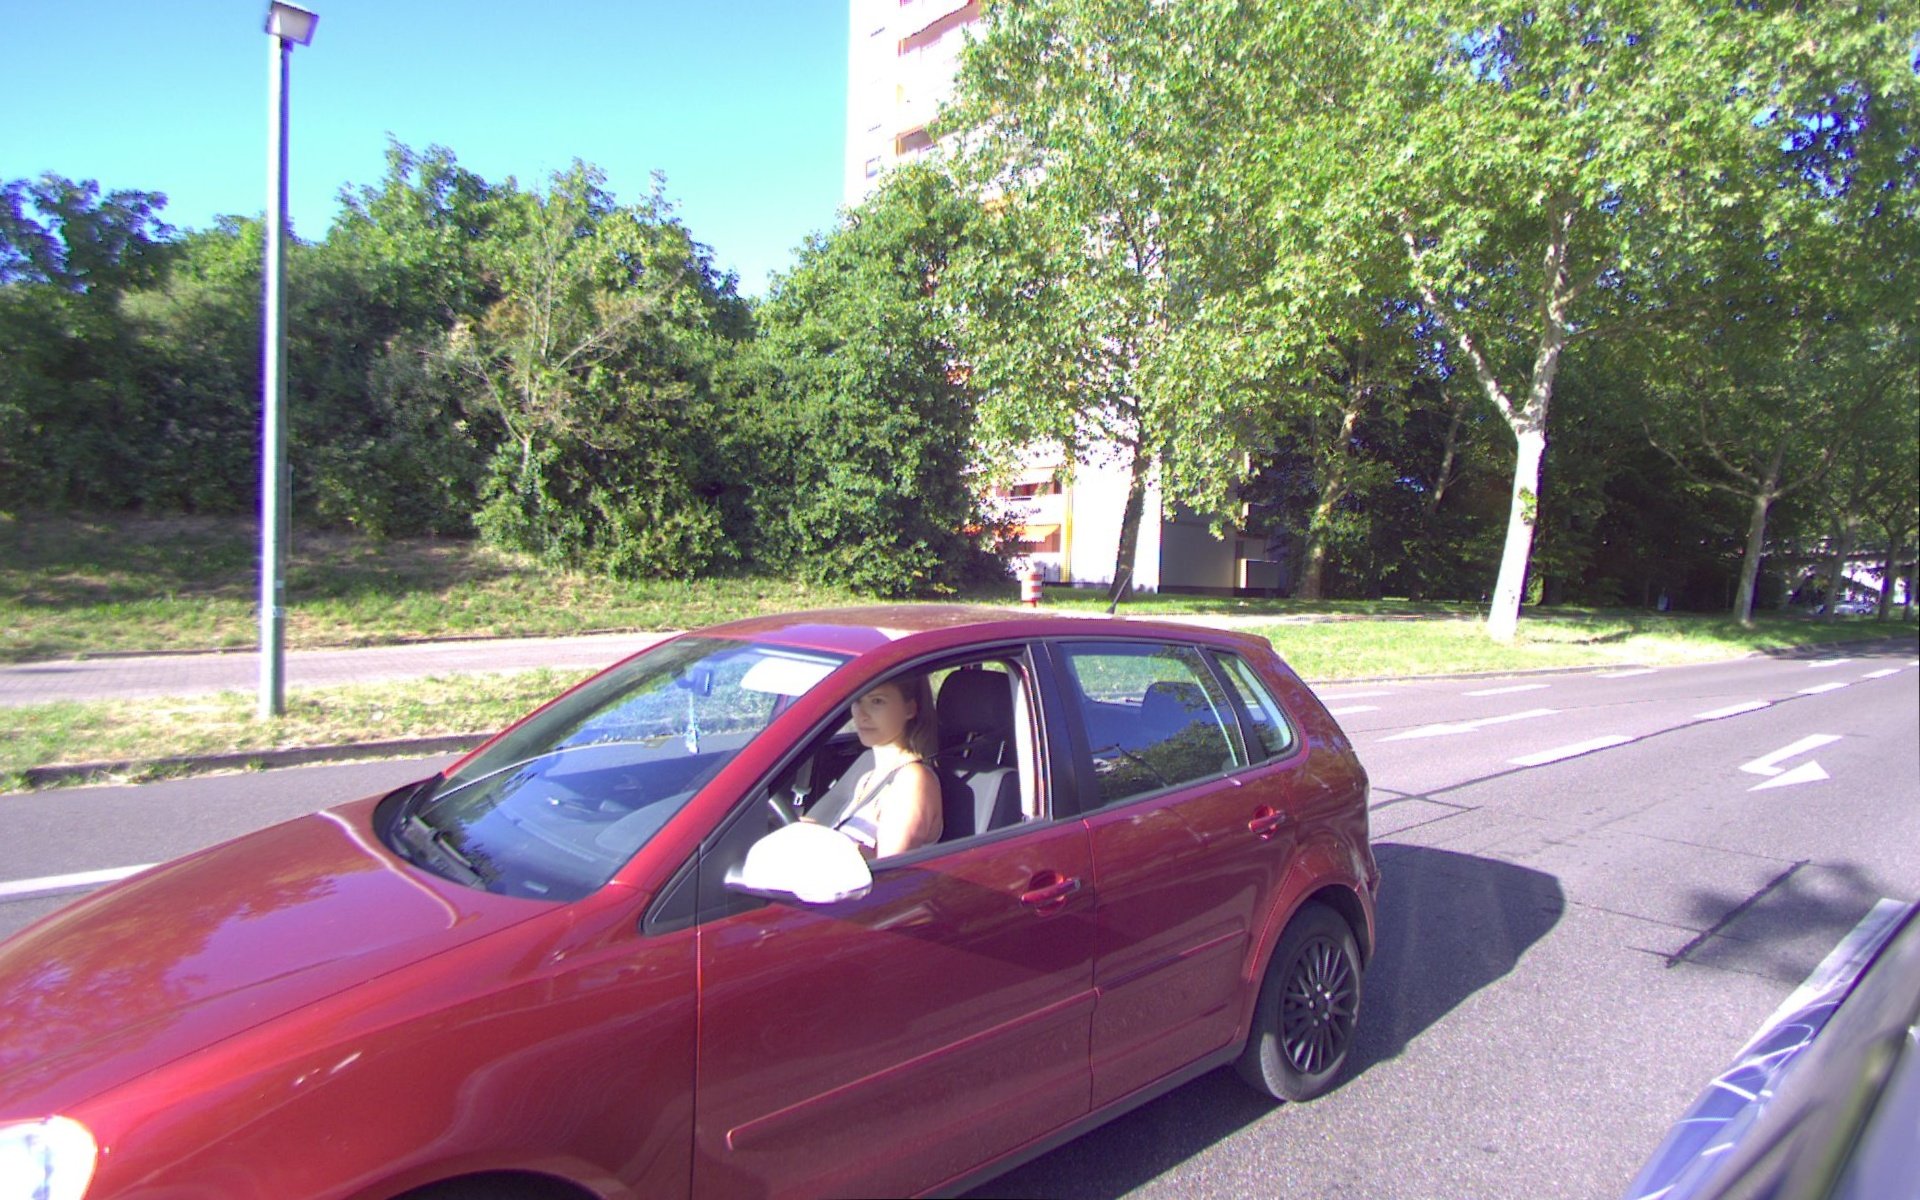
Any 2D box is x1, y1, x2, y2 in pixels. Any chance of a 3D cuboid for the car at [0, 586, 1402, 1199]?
[{"bbox_3d":[-0.453,0.708,2.724,3.624,1.479,1.579,-1,0,-40],"label":"car"}]
